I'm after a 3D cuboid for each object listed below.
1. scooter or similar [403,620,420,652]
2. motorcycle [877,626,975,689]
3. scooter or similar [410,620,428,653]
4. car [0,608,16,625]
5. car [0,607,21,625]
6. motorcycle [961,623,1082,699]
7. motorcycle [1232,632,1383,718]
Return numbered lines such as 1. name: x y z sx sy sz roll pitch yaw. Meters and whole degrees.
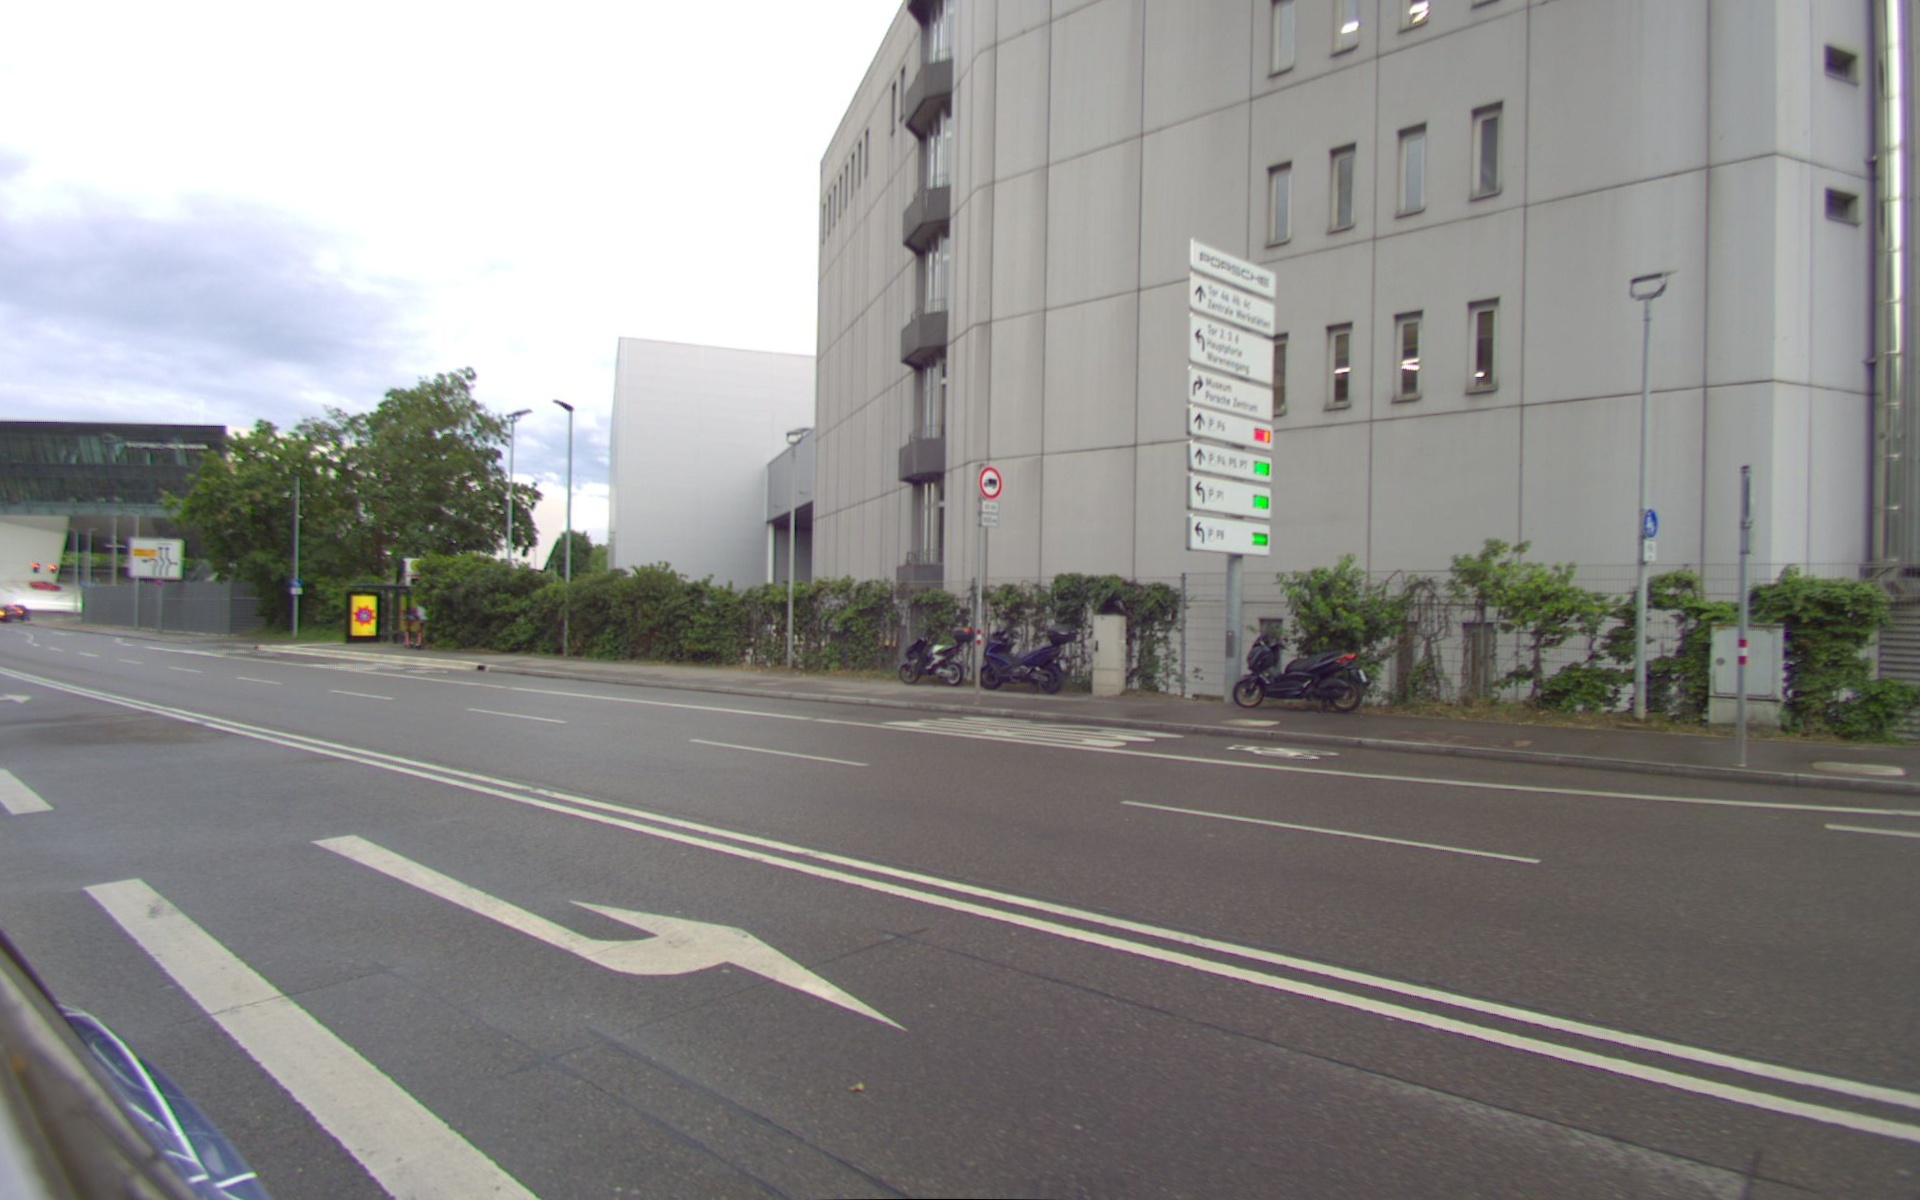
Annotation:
1. scooter or similar: -21.091 1.369 38.900 0.383 1.189 1.253 1 -1 -36
2. motorcycle: -0.756 1.202 21.786 2.156 1.260 0.777 0 -2 40
3. scooter or similar: -20.210 1.348 37.779 0.373 1.190 1.381 1 -1 -36
4. car: -85.917 1.411 89.872 2.233 1.488 4.059 1 -1 -32
5. car: -90.231 1.489 95.346 1.834 1.663 3.799 1 -1 -30
6. motorcycle: 1.165 1.145 19.640 2.368 1.358 0.777 0 -2 40
7. motorcycle: 5.553 1.168 16.256 2.156 1.256 0.777 0 -2 40
